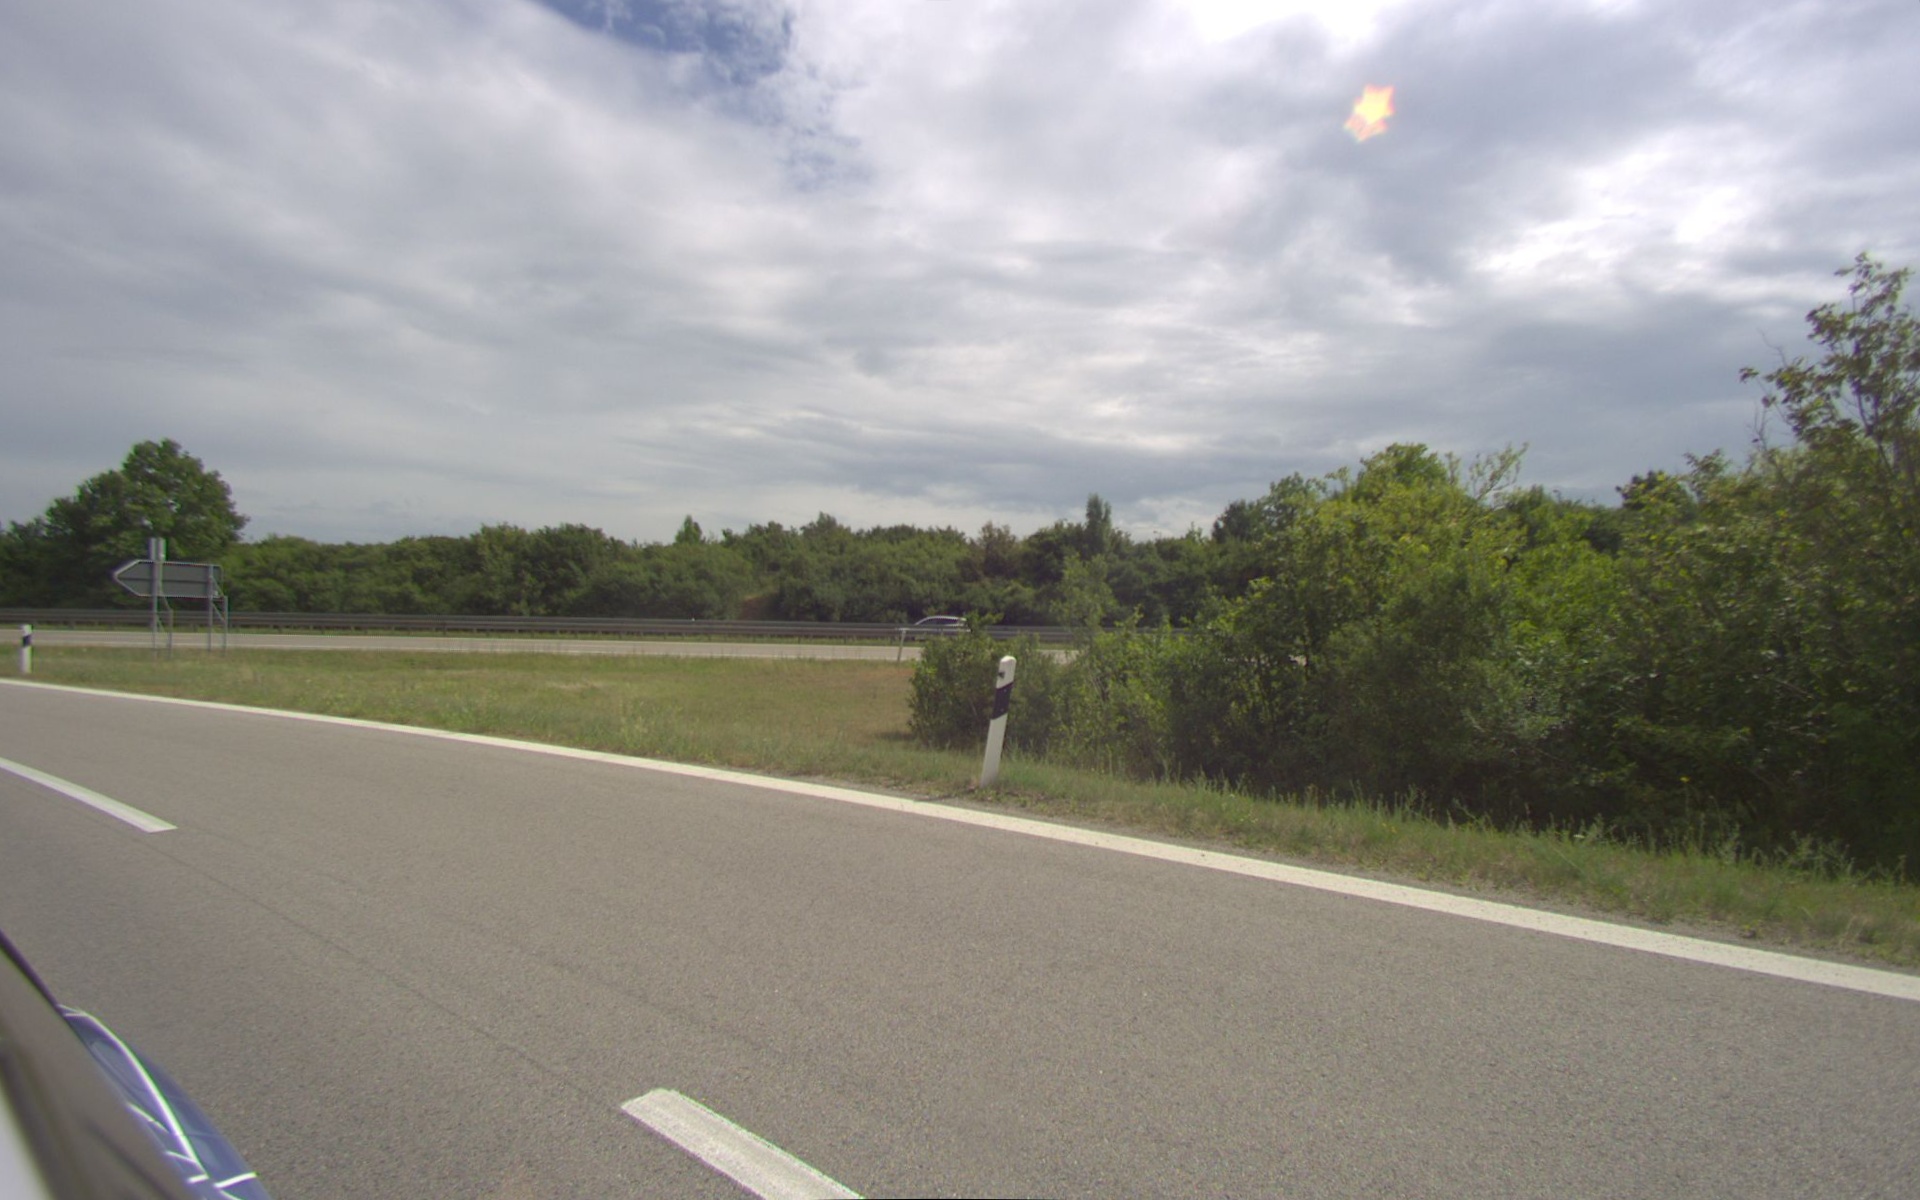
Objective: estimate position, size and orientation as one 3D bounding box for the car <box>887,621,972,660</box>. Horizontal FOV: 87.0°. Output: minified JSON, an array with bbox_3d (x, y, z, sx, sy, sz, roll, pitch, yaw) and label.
[{"bbox_3d":[-1.518,2.025,51.150,4.152,1.887,1.842,-1,0,4],"label":"car"}]
